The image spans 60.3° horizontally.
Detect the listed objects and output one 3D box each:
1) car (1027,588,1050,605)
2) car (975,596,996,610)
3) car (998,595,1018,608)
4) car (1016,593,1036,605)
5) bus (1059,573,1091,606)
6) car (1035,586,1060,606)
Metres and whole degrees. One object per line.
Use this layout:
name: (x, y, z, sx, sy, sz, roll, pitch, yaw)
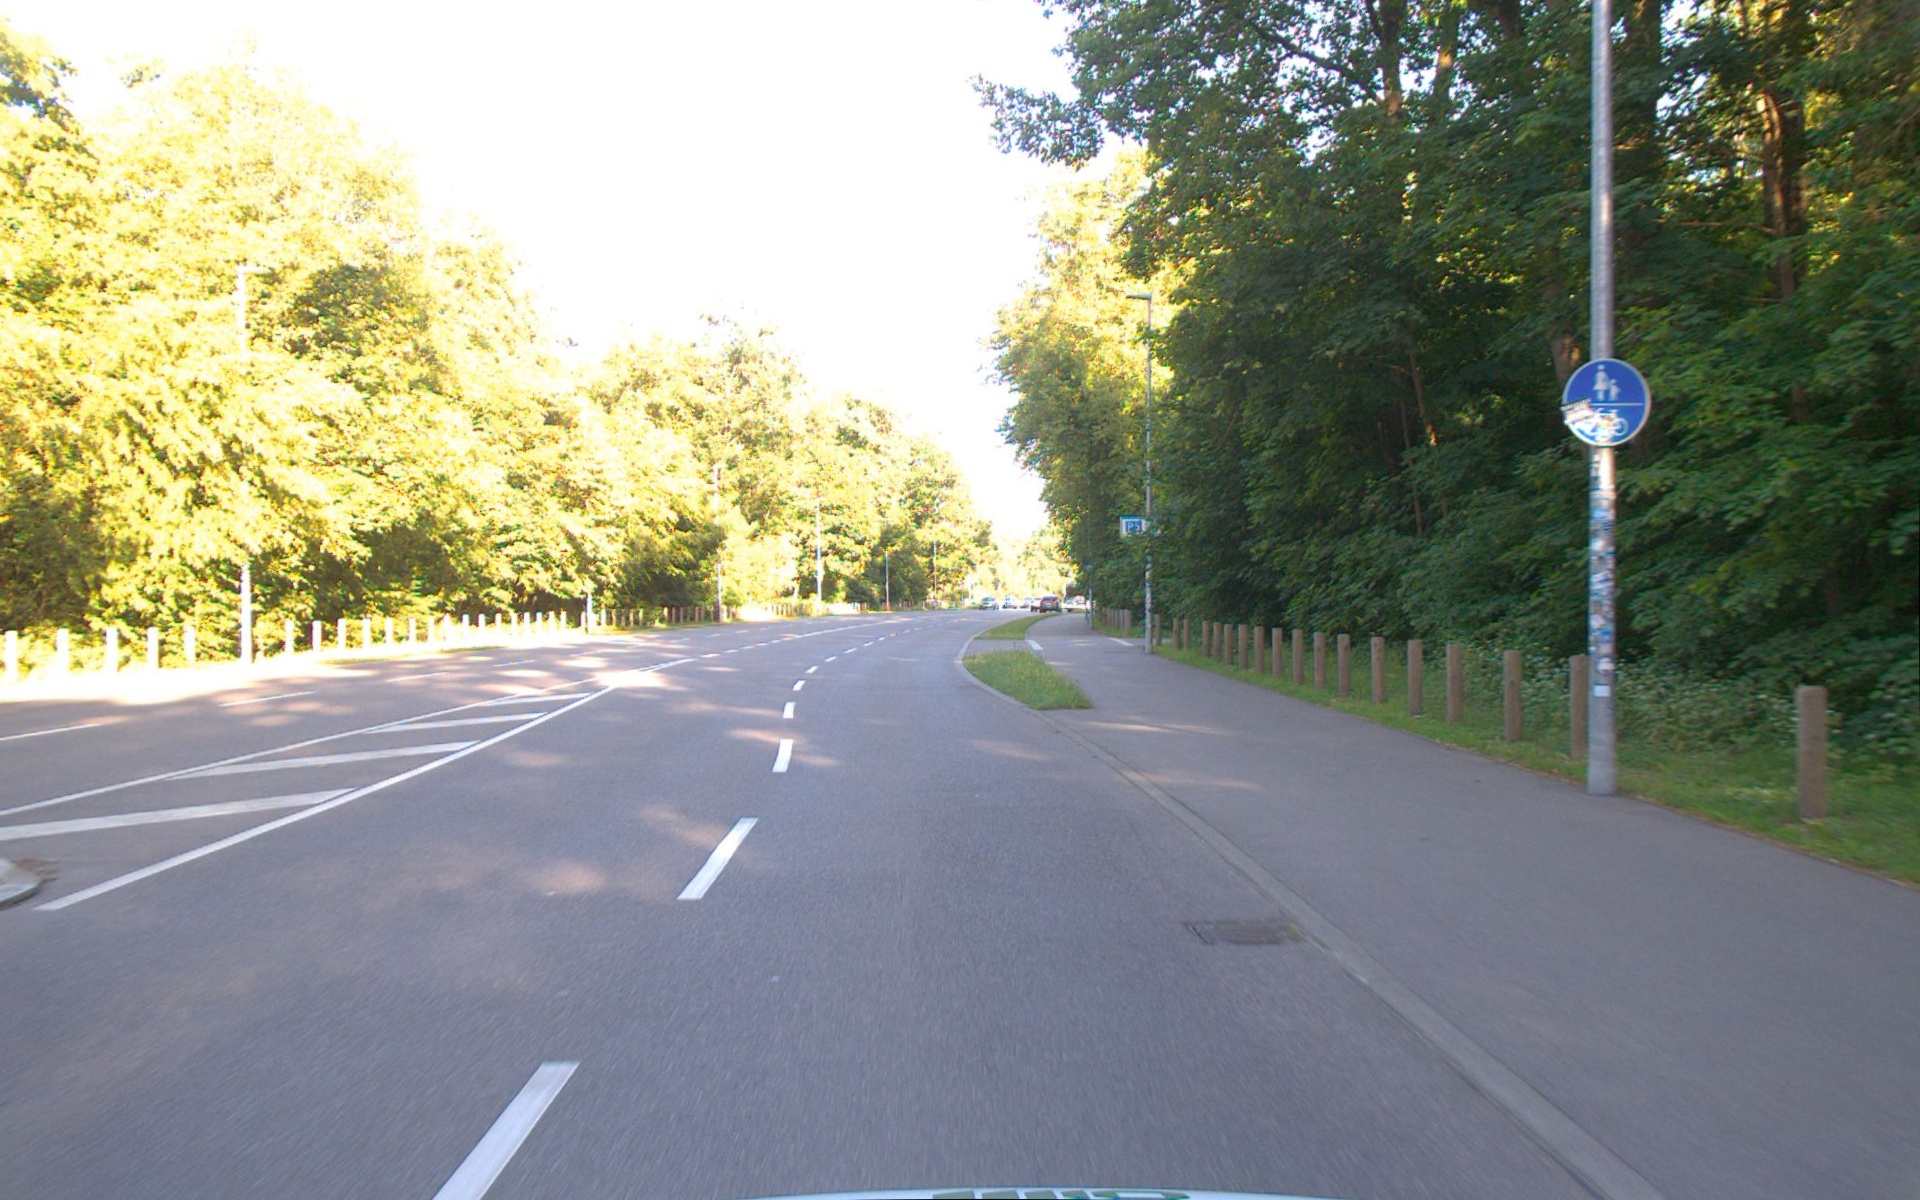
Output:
car: (8.163, -0.347, 171.859, 1.840, 1.739, 4.004, -1, 1, 11)
car: (2.797, 0.317, 182.357, 1.741, 1.433, 4.169, 0, 1, 9)
car: (5.861, 0.184, 201.989, 1.741, 1.489, 4.278, -1, 0, 12)
car: (8.785, -0.106, 219.826, 1.745, 1.549, 4.402, 0, 1, 13)
bus: (12.457, -1.176, 178.643, 2.549, 3.427, 7.983, 0, 1, 11)
car: (8.457, -0.403, 159.775, 1.840, 1.796, 4.004, -1, 1, 11)
